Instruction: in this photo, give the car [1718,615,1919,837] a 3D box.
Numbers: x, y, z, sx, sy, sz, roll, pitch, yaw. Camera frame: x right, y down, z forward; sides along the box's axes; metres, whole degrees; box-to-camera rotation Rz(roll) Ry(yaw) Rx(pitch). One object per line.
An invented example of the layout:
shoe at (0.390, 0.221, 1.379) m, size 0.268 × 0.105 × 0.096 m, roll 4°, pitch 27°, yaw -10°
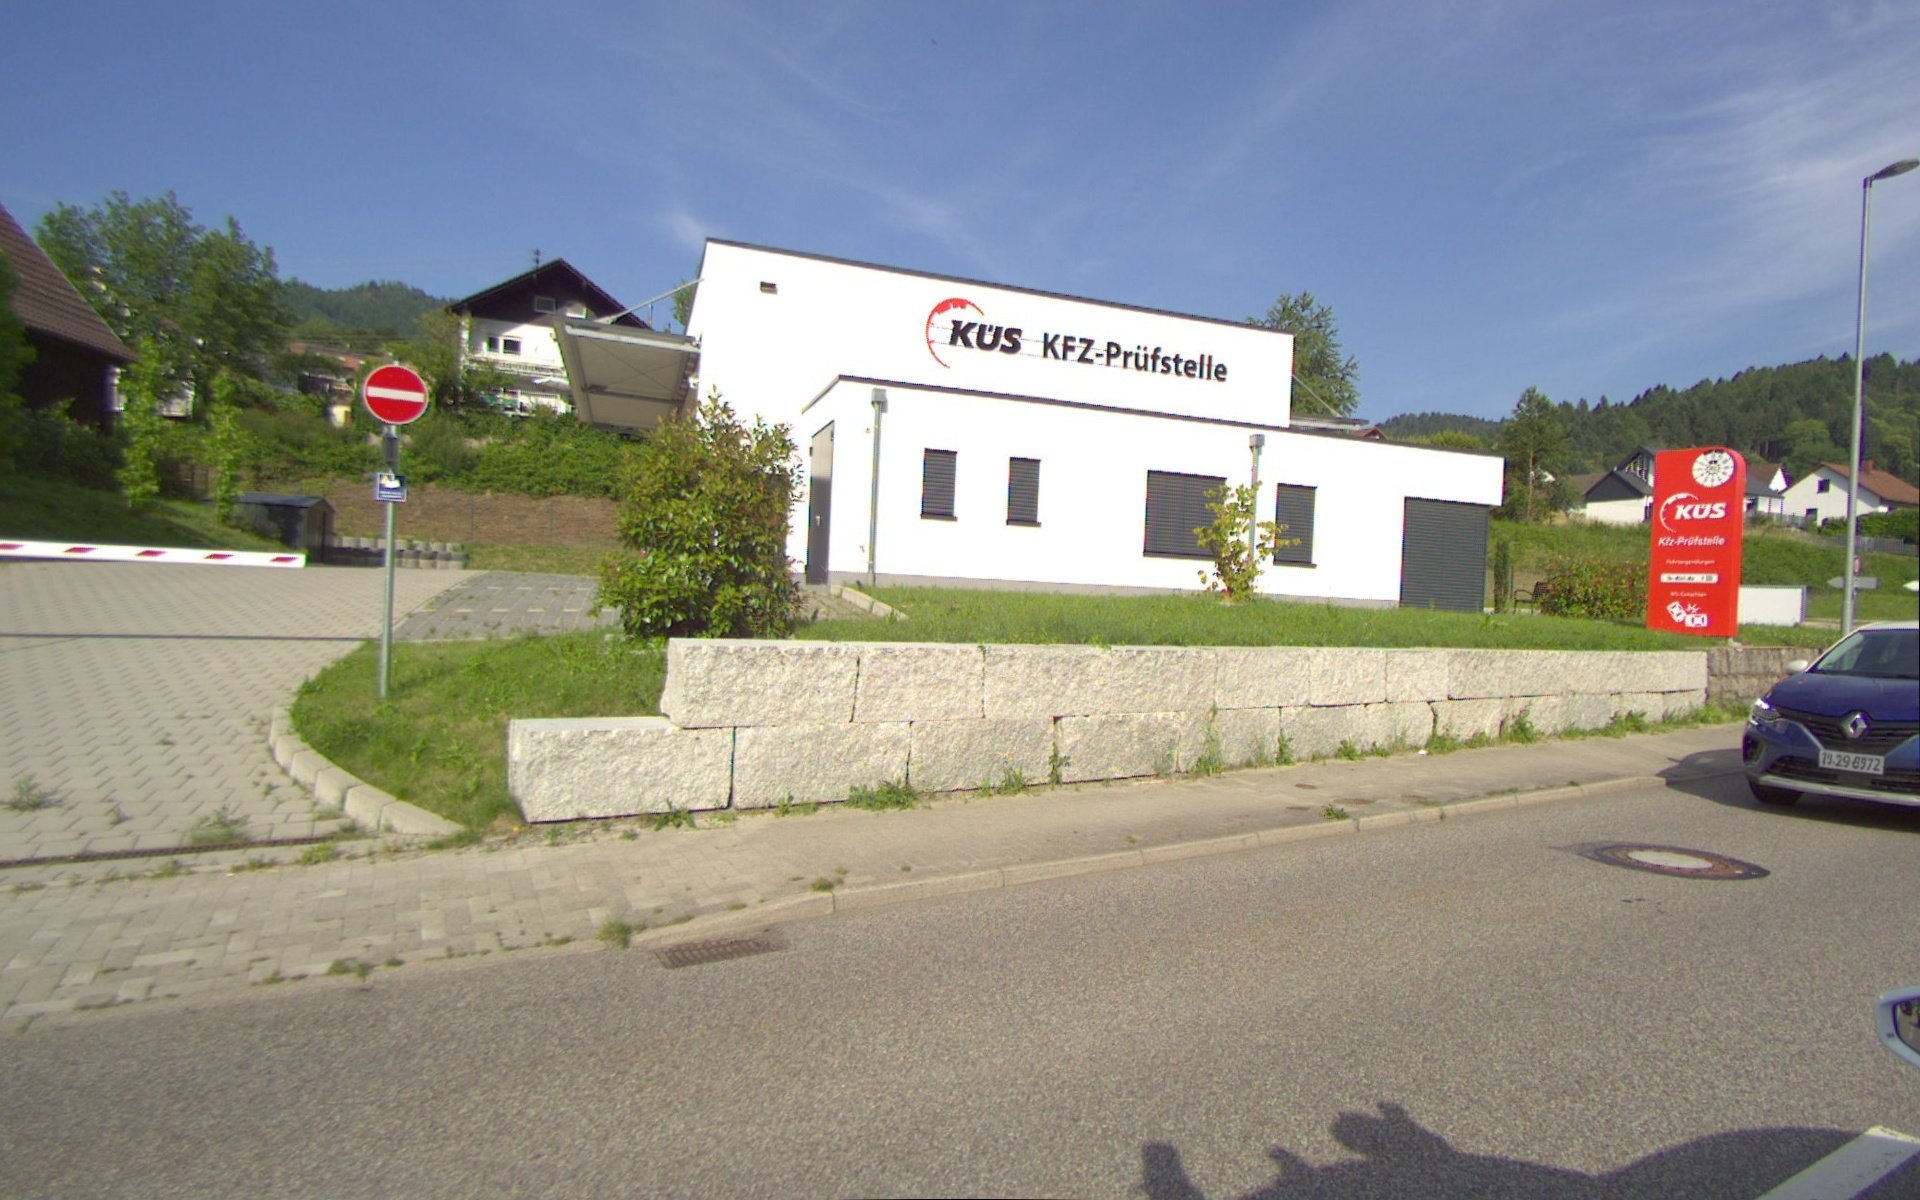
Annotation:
car at (8.232, 0.925, 8.366) m, size 3.954 × 1.546 × 1.735 m, roll 1°, pitch -1°, yaw -31°
